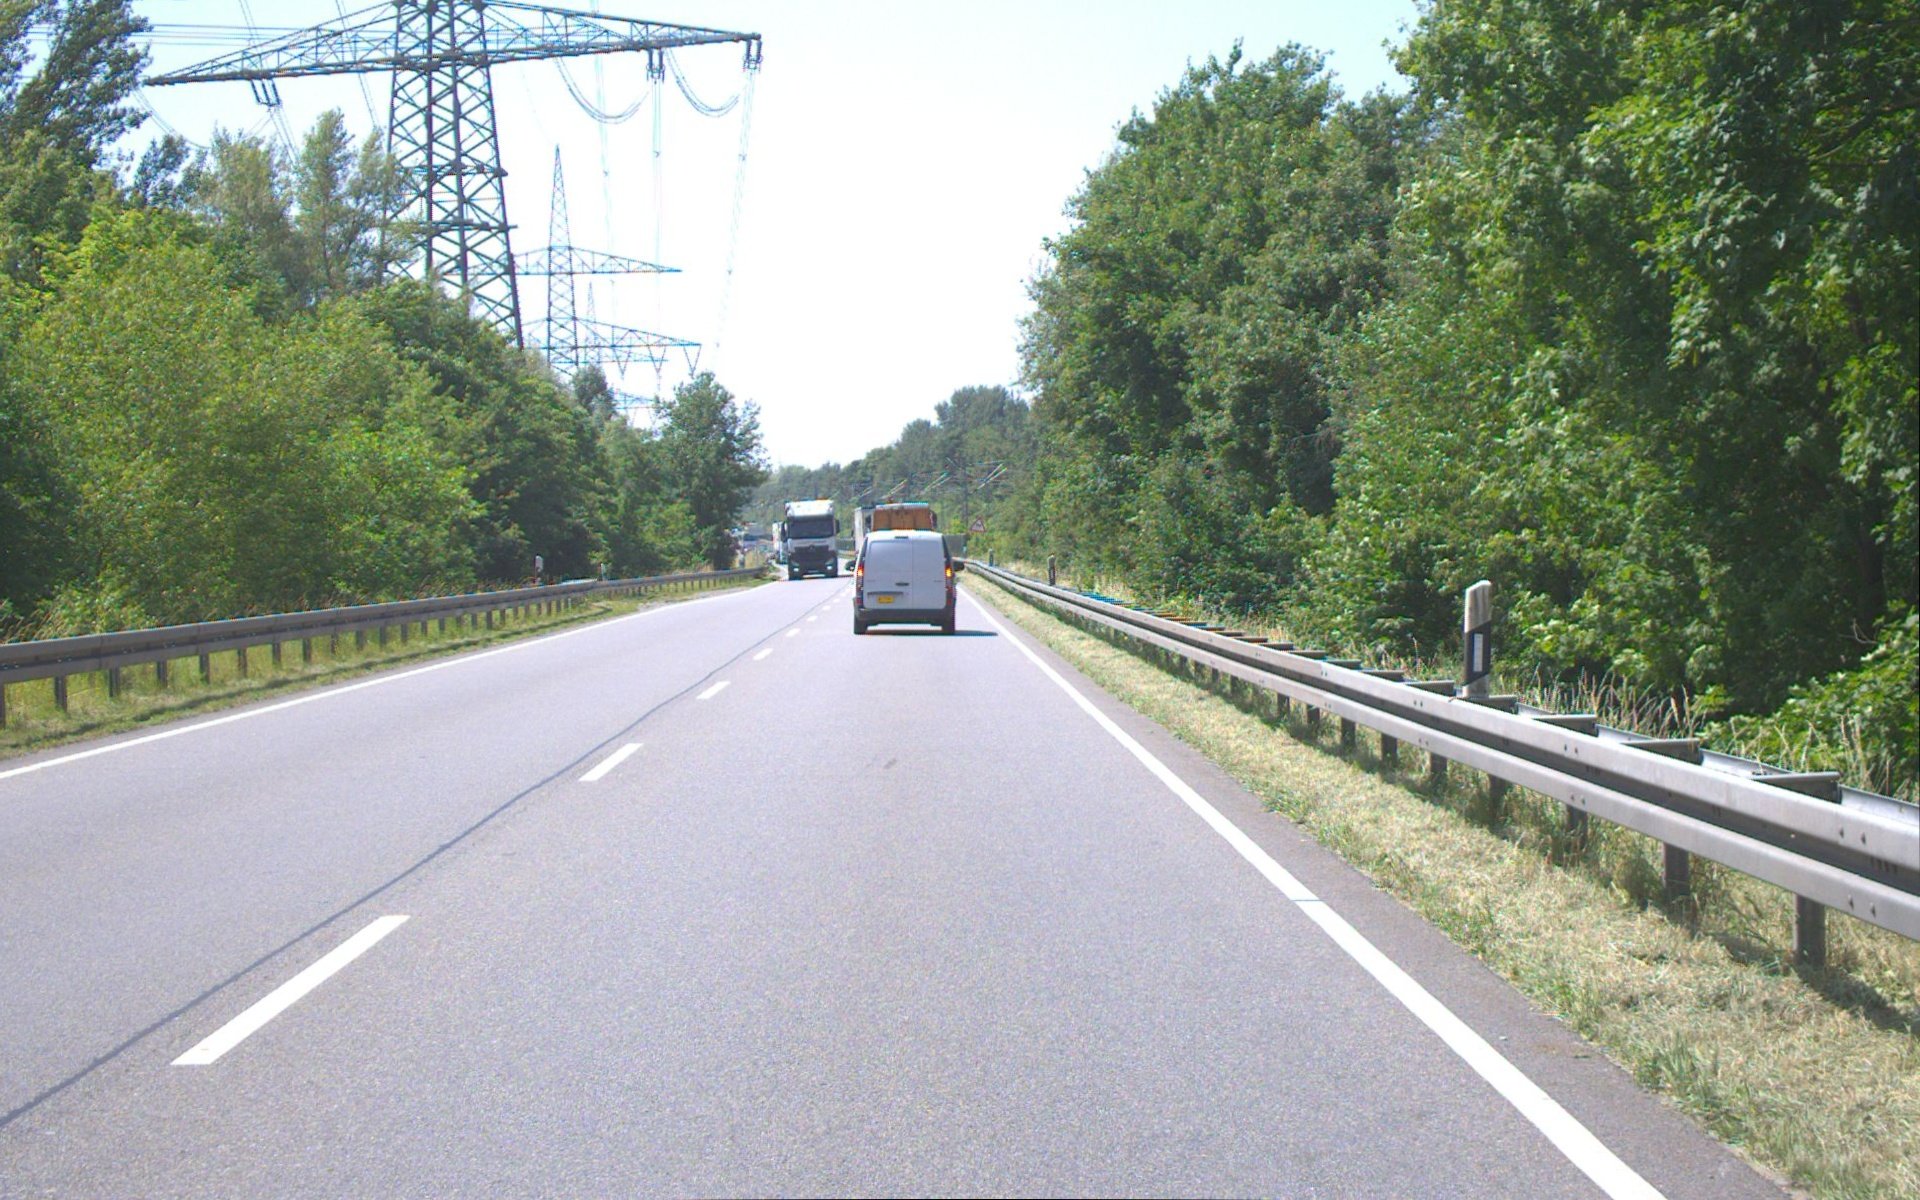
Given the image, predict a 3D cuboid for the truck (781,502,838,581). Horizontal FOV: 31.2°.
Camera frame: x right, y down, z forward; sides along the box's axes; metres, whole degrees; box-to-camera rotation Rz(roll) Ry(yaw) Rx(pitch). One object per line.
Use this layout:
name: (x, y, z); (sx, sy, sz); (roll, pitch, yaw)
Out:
truck: (-7.752, -3.032, 177.607); (2.763, 3.985, 5.907); (1, 1, -1)

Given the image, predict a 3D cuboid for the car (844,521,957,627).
car: (-1.041, -0.484, 59.853); (1.875, 1.735, 4.001); (1, 2, -1)

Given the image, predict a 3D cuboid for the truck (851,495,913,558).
truck: (-5.108, -4.791, 220.949); (3.402, 3.841, 16.821); (1, 2, -3)

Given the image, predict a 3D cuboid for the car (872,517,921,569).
car: (-2.472, -2.234, 133.922); (1.763, 2.007, 4.001); (0, 1, -3)

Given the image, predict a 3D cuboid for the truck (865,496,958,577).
truck: (-2.148, -2.765, 145.520); (3.296, 3.161, 14.407); (1, 2, -3)
